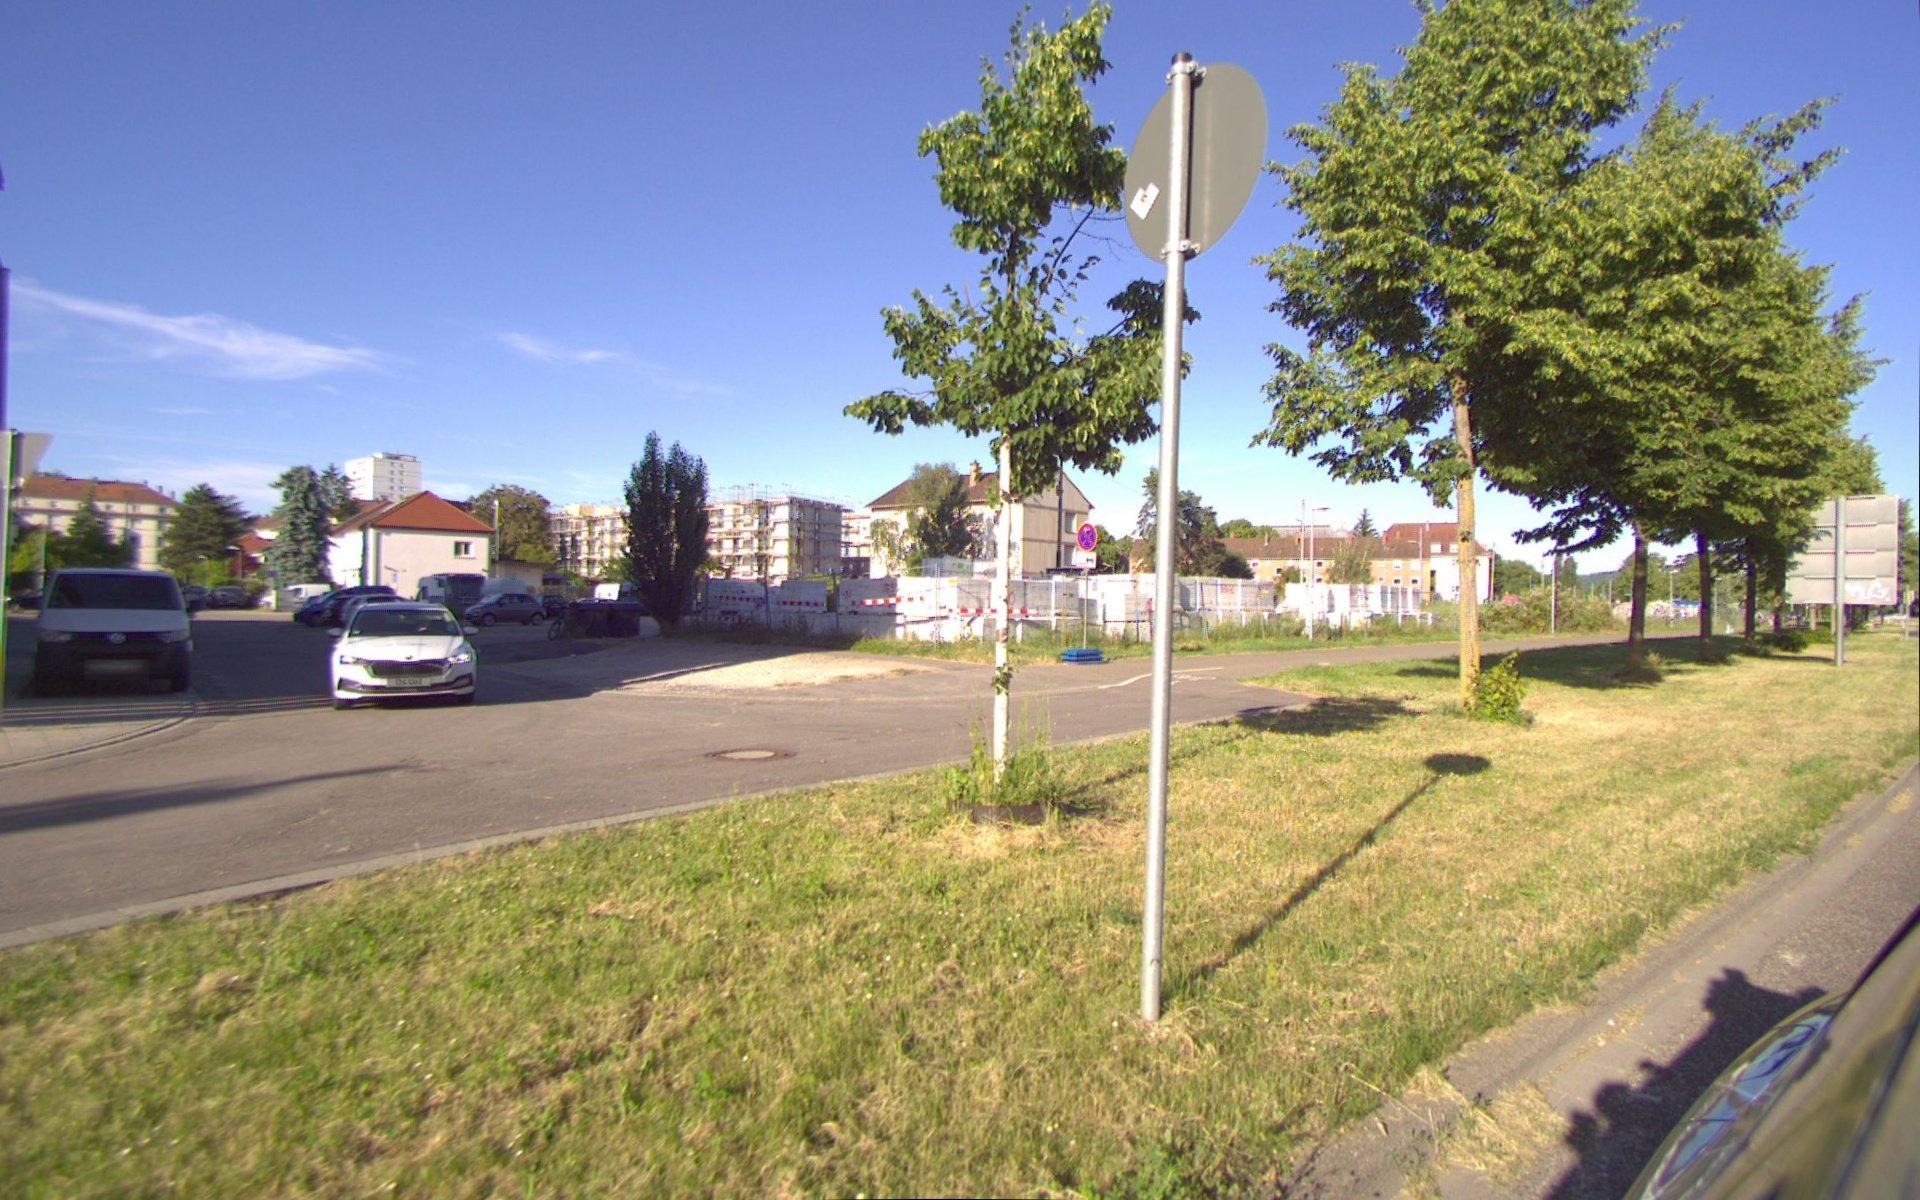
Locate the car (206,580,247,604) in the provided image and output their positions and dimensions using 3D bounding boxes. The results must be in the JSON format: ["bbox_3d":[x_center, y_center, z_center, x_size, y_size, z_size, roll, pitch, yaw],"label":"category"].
[{"bbox_3d":[-51.535,-0.564,71.056,1.825,1.660,3.814,-1,1,-44],"label":"car"}]

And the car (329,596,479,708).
[{"bbox_3d":[-8.512,0.660,15.420,1.738,1.410,4.531,-1,1,-31],"label":"car"}]

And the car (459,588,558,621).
[{"bbox_3d":[-21.291,0.208,47.777,3.934,1.486,1.672,1,0,-44],"label":"car"}]

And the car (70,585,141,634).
[{"bbox_3d":[-28.861,0.276,34.161,1.719,1.571,3.840,-1,1,-42],"label":"car"}]

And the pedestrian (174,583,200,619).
[{"bbox_3d":[-40.054,0.033,52.427,0.948,1.854,1.193,-1,1,-44],"label":"pedestrian"}]

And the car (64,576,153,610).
[{"bbox_3d":[-52.129,-0.470,62.026,1.992,2.039,3.941,0,1,41],"label":"car"}]

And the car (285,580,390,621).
[{"bbox_3d":[-29.227,0.036,47.559,3.934,1.873,1.672,1,0,-44],"label":"car"}]

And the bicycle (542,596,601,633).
[{"bbox_3d":[-12.841,0.473,33.514,1.716,1.206,0.584,1,-1,-41],"label":"bicycle"}]

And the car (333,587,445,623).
[{"bbox_3d":[-24.750,0.212,43.949,3.934,1.482,1.672,1,0,-44],"label":"car"}]

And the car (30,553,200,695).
[{"bbox_3d":[-14.145,0.319,16.847,1.905,2.007,5.073,1,0,-42],"label":"car"}]
